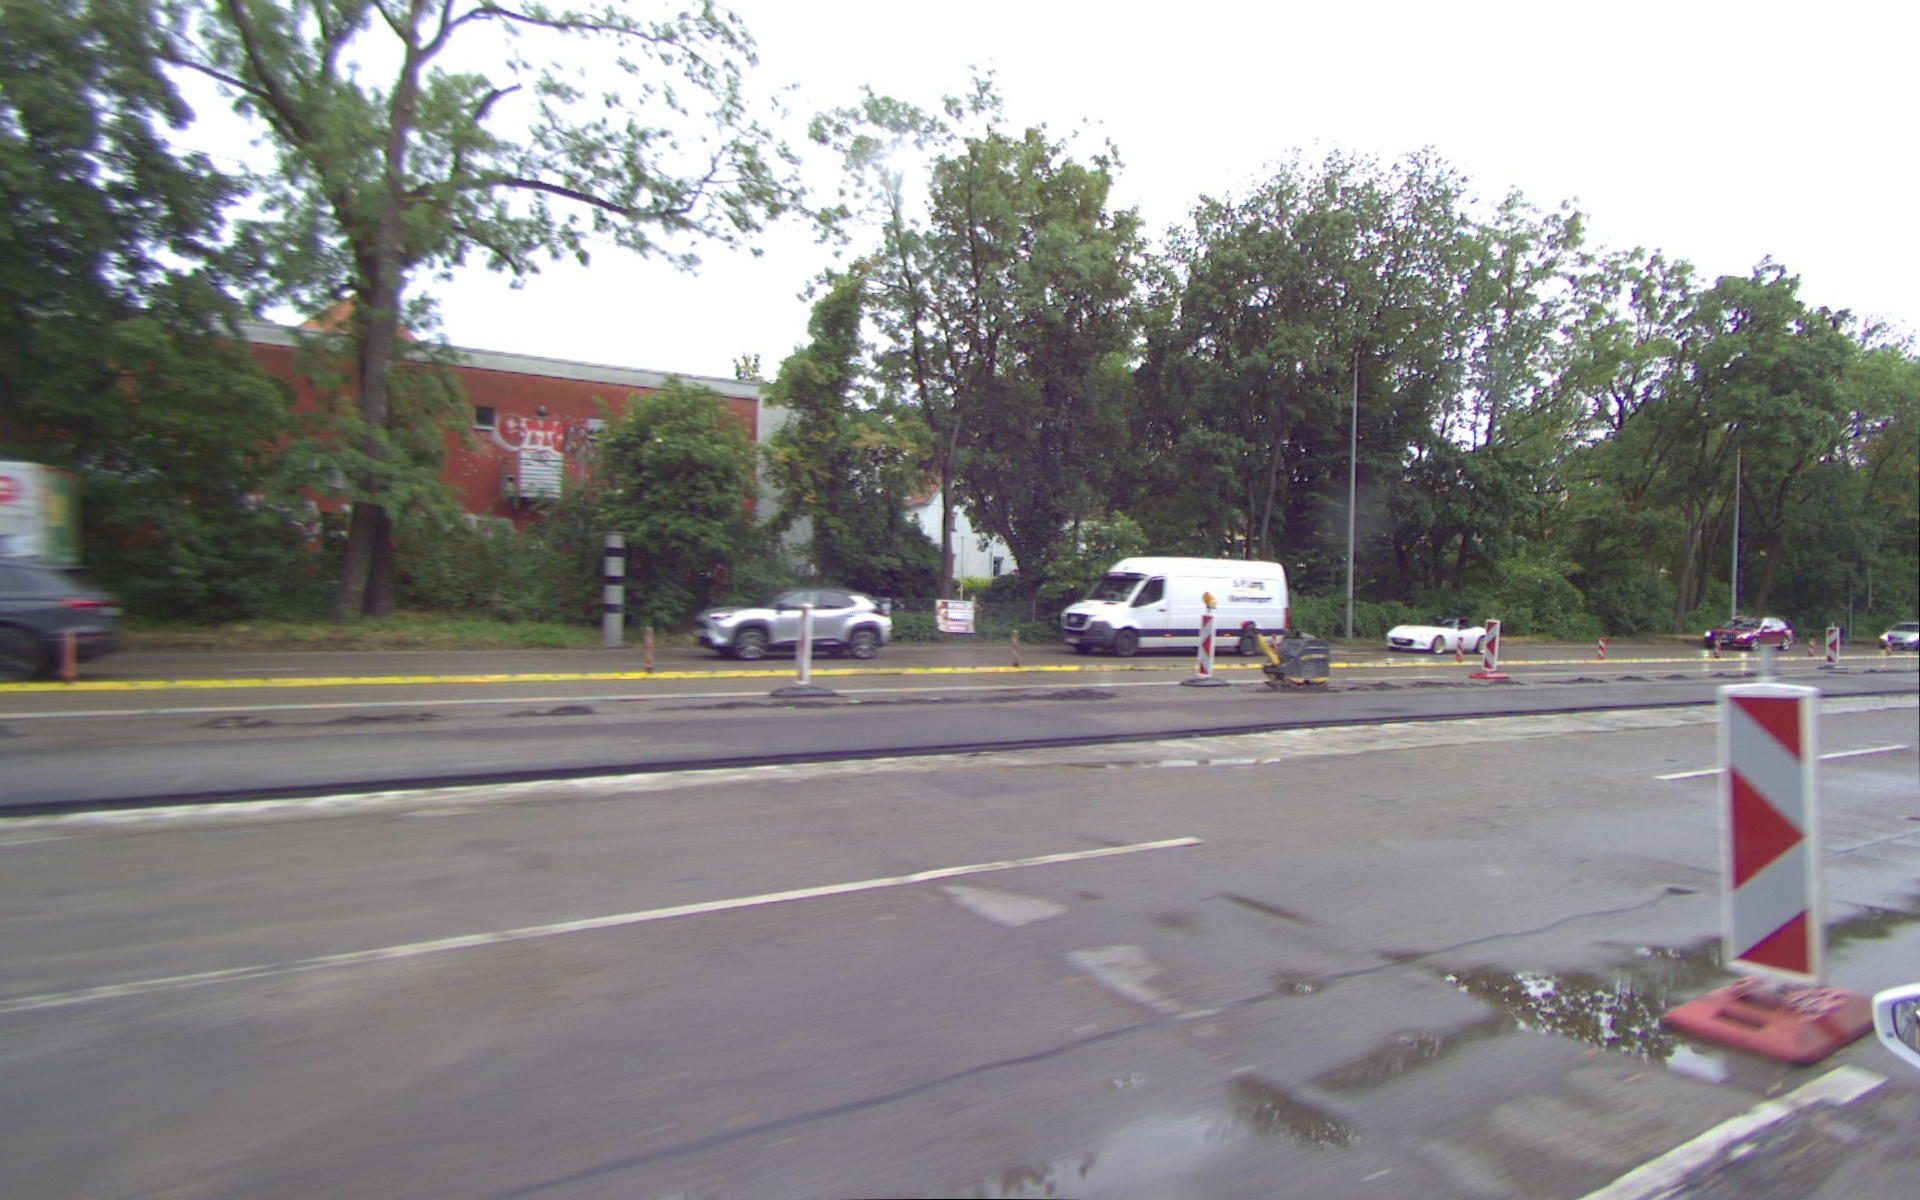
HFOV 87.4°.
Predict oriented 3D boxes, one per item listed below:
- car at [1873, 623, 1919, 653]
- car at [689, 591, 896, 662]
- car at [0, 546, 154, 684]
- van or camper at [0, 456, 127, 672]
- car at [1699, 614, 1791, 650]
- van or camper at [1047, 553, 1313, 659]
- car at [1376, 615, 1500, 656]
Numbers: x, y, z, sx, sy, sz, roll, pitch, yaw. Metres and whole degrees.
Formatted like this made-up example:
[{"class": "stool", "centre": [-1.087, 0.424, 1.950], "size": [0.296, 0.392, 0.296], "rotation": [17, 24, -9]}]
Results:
[{"class": "car", "centre": [49.230, 1.960, 52.098], "size": [3.594, 1.419, 1.672], "rotation": [2, 1, -29]}, {"class": "car", "centre": [-3.555, 0.556, 21.472], "size": [4.035, 1.383, 1.707], "rotation": [1, 0, -31]}, {"class": "car", "centre": [-13.454, 0.160, 12.727], "size": [4.751, 1.716, 1.984], "rotation": [1, 0, -31]}, {"class": "van or camper", "centre": [-16.674, -0.591, 14.073], "size": [7.366, 3.103, 2.286], "rotation": [1, 0, -31]}, {"class": "car", "centre": [34.637, 1.405, 44.307], "size": [4.435, 1.496, 1.720], "rotation": [1, 0, -31]}, {"class": "van or camper", "centre": [6.105, 0.179, 27.293], "size": [7.638, 2.589, 1.984], "rotation": [1, 2, -30]}, {"class": "car", "centre": [15.784, 1.152, 33.137], "size": [3.950, 1.199, 1.681], "rotation": [1, 2, -28]}]
